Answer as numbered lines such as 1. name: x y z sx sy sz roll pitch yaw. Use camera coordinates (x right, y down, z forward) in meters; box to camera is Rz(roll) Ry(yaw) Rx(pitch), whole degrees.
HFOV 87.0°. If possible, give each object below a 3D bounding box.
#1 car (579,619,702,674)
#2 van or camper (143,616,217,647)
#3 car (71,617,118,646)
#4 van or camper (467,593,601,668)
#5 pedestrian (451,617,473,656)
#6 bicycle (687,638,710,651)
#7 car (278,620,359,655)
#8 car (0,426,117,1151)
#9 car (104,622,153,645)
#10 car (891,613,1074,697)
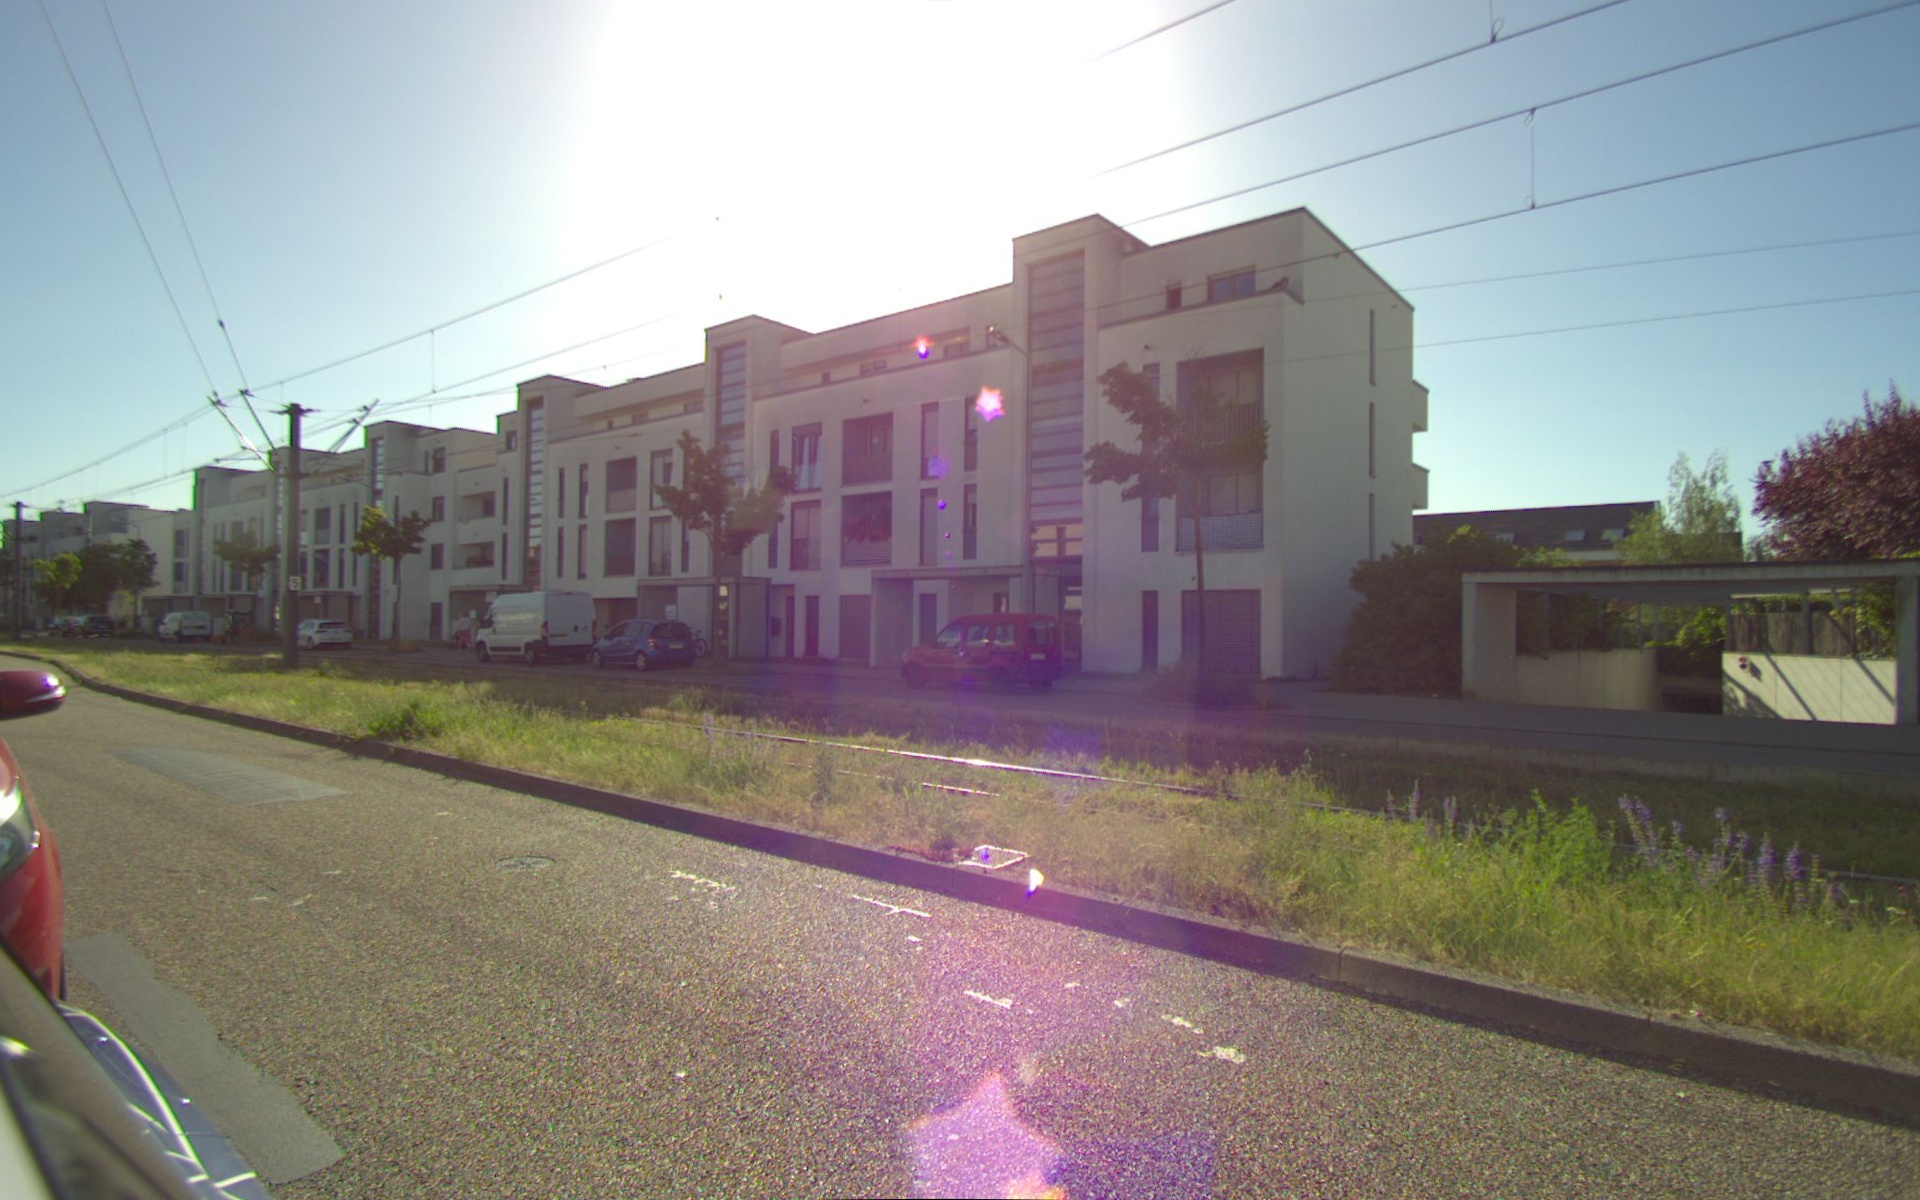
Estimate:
1. car: -9.996 1.413 31.575 3.833 1.625 1.910 -1 -2 40
2. van or camper: -47.973 1.900 62.213 6.279 1.862 2.244 -1 -1 39
3. car: -62.856 2.279 73.487 3.993 2.029 1.766 -1 0 37
4. van or camper: -15.174 1.063 35.918 5.256 2.484 2.170 -1 -2 40
5. pedestrian: -21.234 1.542 43.165 0.611 1.656 0.612 -1 0 33
6. bicycle: -10.542 1.806 40.758 1.060 0.502 0.349 -1 -3 40
7. car: -31.046 1.801 48.972 4.115 1.598 2.022 -1 -2 38
8. car: -5.064 0.560 3.842 5.081 1.984 2.100 -1 0 41
9. car: -56.719 2.257 69.022 3.491 1.449 1.845 -1 0 37
10. car: 0.455 1.197 22.894 3.907 1.736 1.770 -1 -3 42
